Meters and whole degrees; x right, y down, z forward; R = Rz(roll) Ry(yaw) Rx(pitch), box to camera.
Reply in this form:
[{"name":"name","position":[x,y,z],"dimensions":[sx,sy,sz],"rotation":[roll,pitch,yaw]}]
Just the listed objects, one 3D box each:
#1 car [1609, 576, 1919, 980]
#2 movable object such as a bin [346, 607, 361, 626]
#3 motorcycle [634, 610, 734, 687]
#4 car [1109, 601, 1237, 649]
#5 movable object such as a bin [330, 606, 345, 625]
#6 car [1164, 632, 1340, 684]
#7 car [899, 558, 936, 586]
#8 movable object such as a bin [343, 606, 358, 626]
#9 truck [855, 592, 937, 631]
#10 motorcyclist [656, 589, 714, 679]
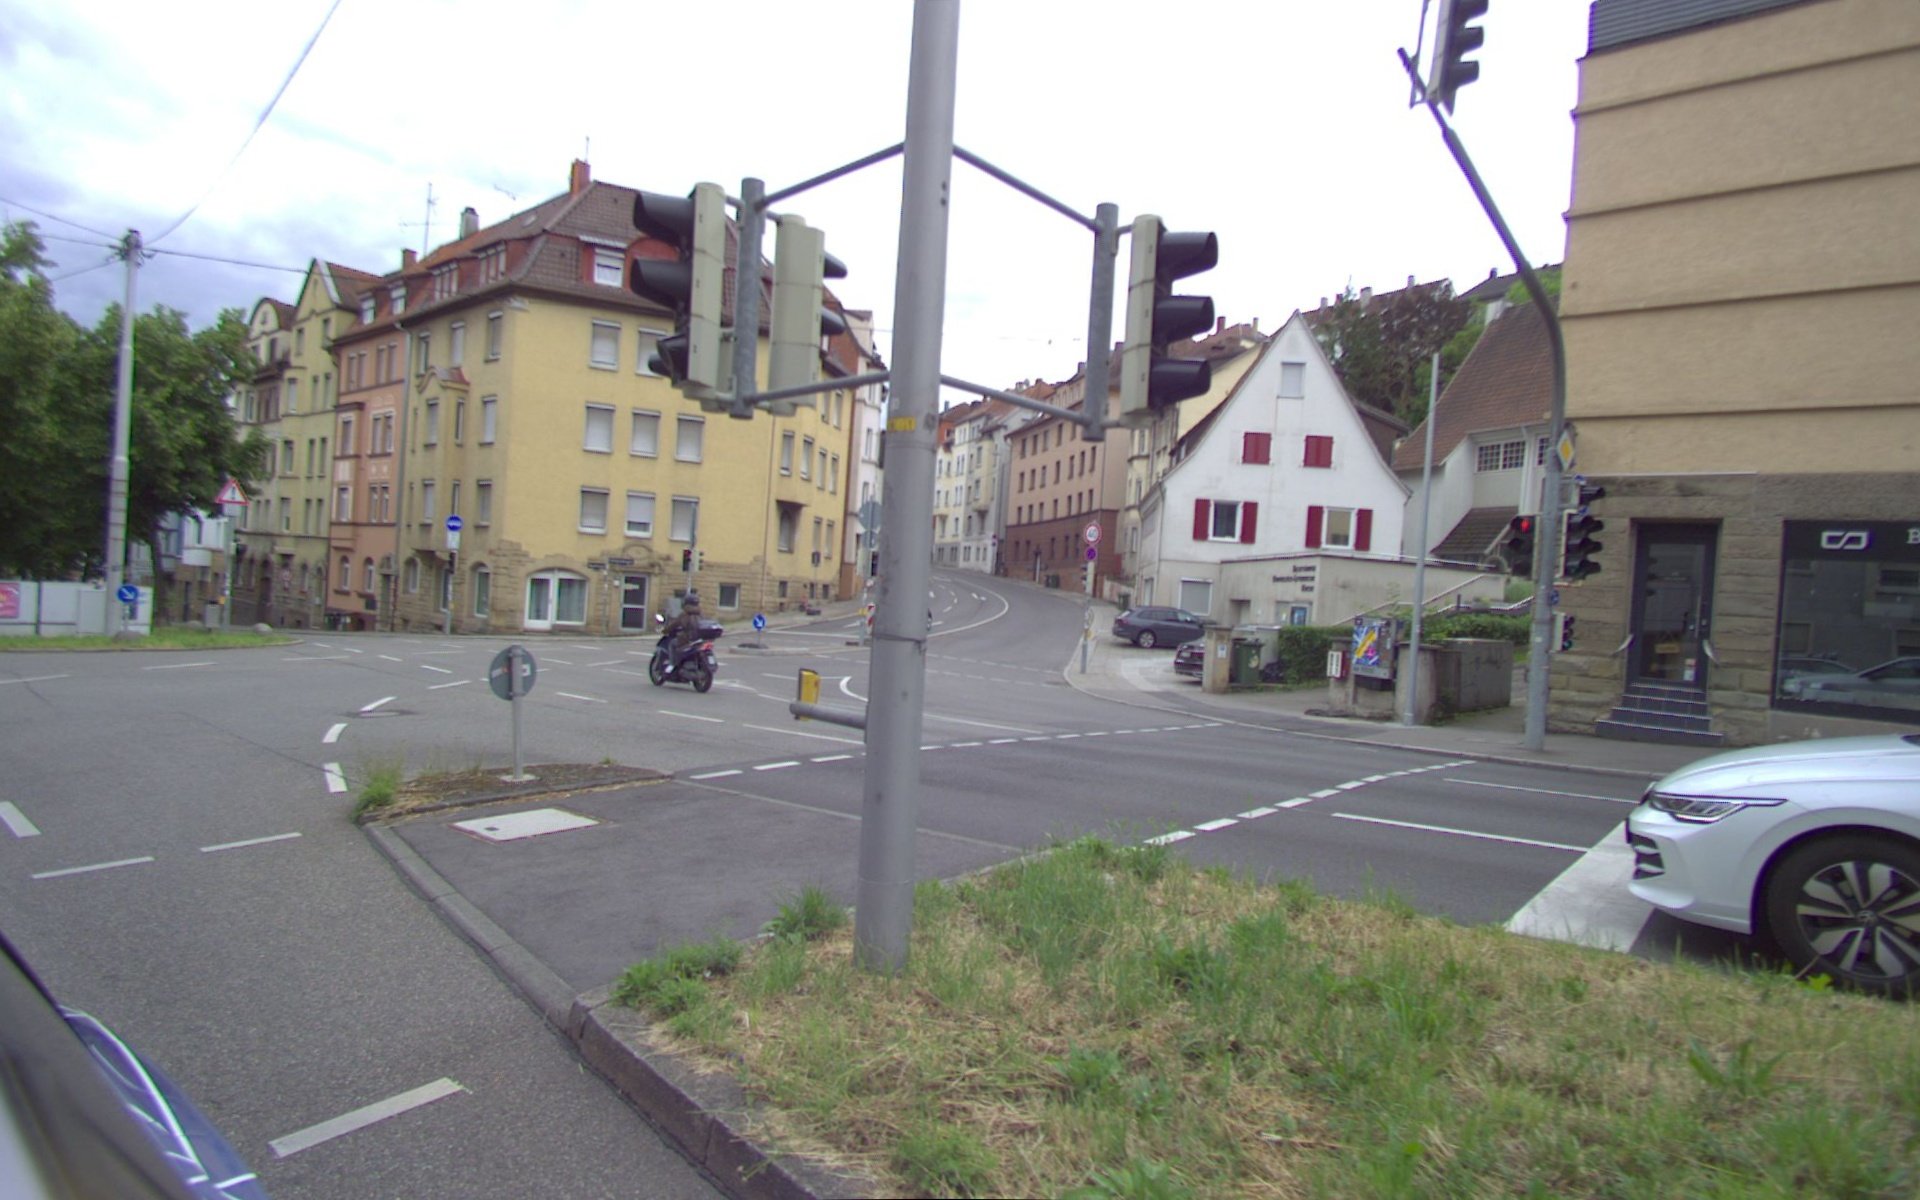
[{"name":"car","position":[5.089,0.691,3.525],"dimensions":[4.582,1.478,1.728],"rotation":[1,-2,40]},{"name":"movable object such as a bin","position":[-27.975,0.750,46.700],"dimensions":[0.480,0.871,0.449],"rotation":[4,-3,-44]},{"name":"motorcycle","position":[-4.773,0.795,17.390],"dimensions":[2.205,1.193,0.539],"rotation":[2,-1,43]},{"name":"car","position":[7.693,0.894,36.864],"dimensions":[4.238,1.476,1.683],"rotation":[1,4,-1]},{"name":"movable object such as a bin","position":[-29.790,0.733,48.455],"dimensions":[0.480,0.871,0.449],"rotation":[4,-3,-44]},{"name":"car","position":[7.495,1.481,26.078],"dimensions":[3.932,1.198,1.841],"rotation":[1,0,-15]},{"name":"car","position":[-3.048,-1.964,72.127],"dimensions":[1.832,1.734,3.866],"rotation":[2,-1,-14]},{"name":"movable object such as a bin","position":[-28.421,0.748,47.214],"dimensions":[0.480,0.871,0.449],"rotation":[4,-3,-44]},{"name":"truck","position":[-2.471,0.450,39.835],"dimensions":[1.838,1.429,3.975],"rotation":[1,0,19]},{"name":"motorcyclist","position":[-4.717,0.571,17.343],"dimensions":[0.662,1.486,0.665],"rotation":[1,-1,42]}]
